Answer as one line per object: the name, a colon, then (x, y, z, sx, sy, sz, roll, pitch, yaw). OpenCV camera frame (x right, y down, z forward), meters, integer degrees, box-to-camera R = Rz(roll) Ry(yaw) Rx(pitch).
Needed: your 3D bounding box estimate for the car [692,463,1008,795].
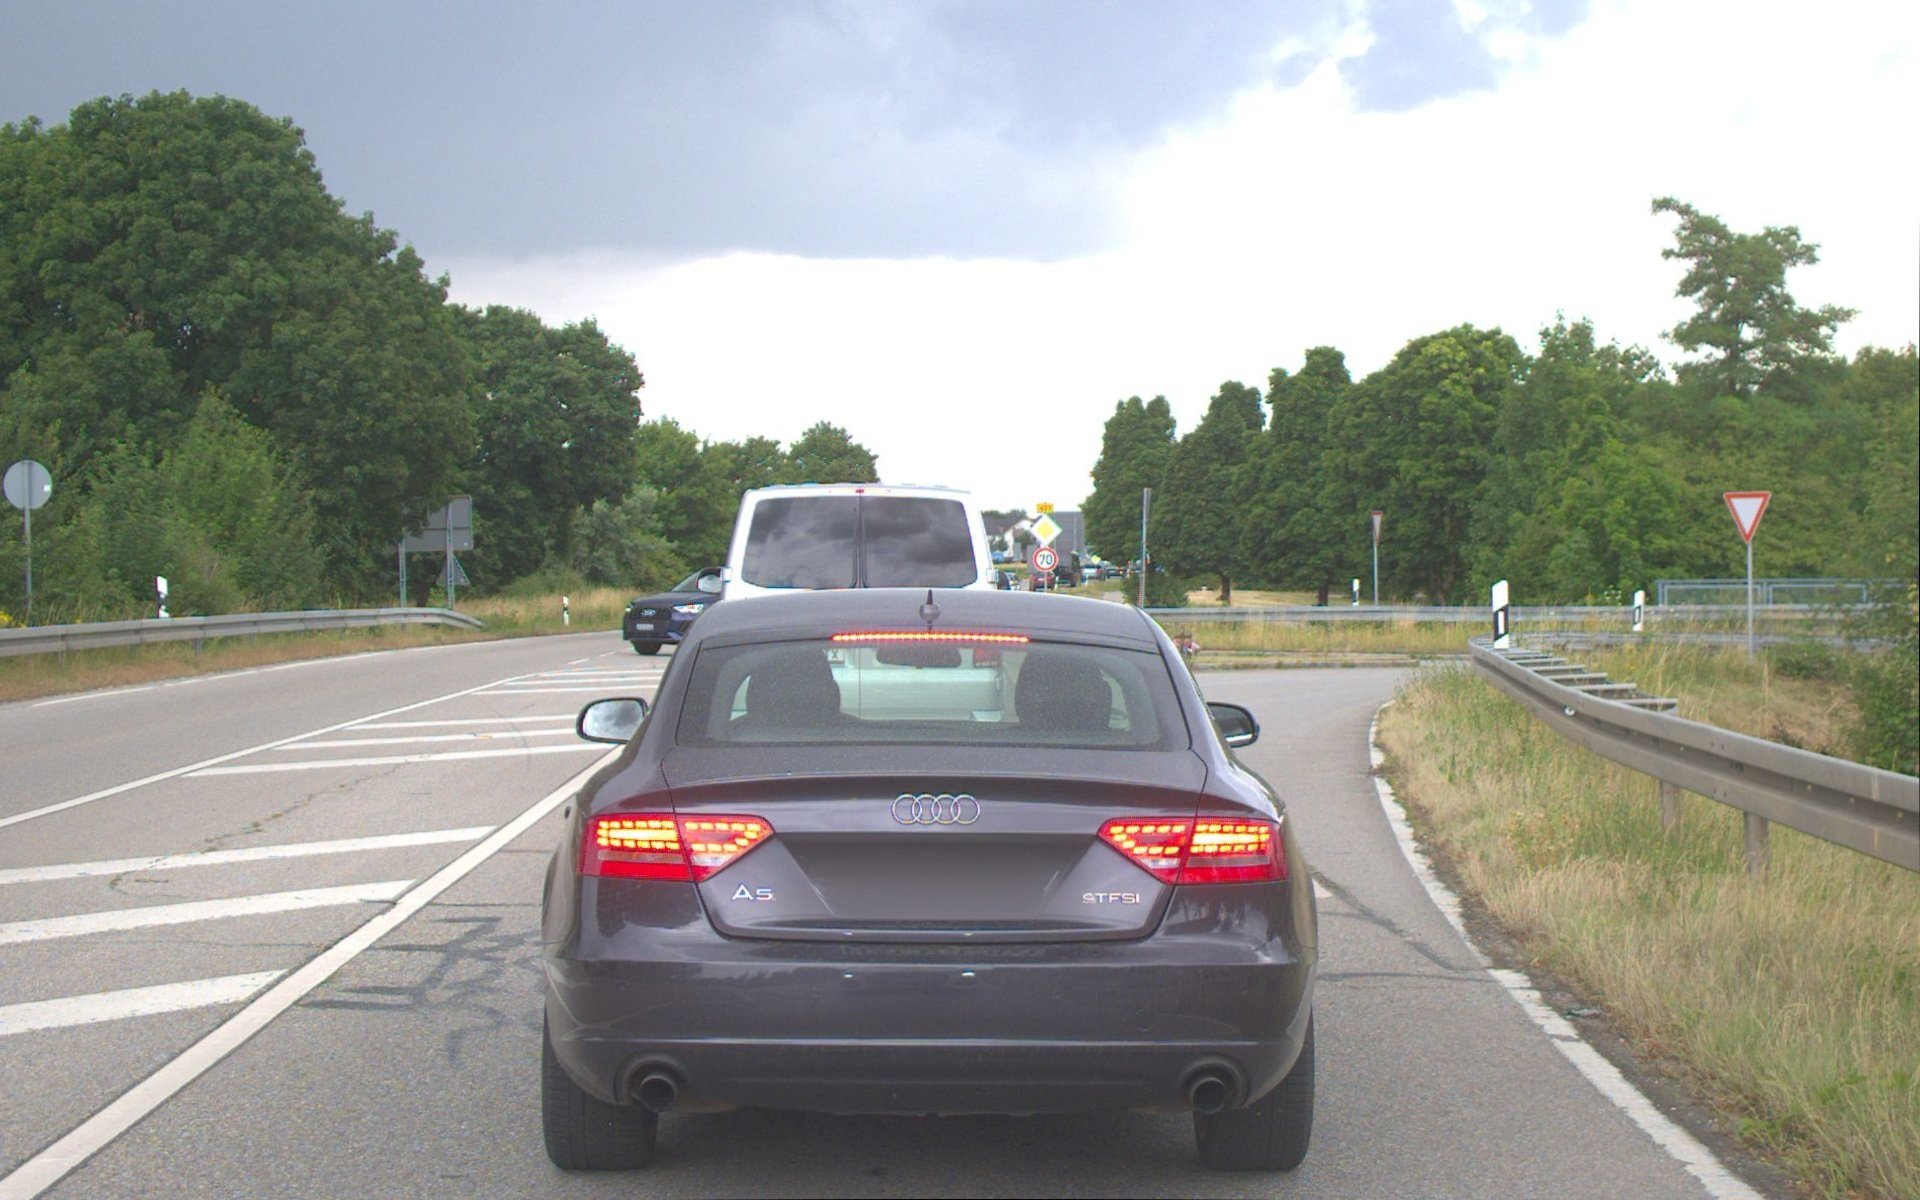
car: (-0.732, 0.136, 23.037, 1.910, 2.007, 4.000, 1, 1, -2)

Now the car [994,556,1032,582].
car: (3.326, -1.946, 217.898, 2.205, 1.577, 4.379, 1, 1, -2)

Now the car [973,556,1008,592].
car: (1.802, -1.515, 200.914, 1.993, 2.007, 4.000, 1, 1, 1)

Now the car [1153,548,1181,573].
car: (14.565, -2.764, 241.517, 1.876, 1.686, 4.000, 1, 1, 4)

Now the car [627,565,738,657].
car: (-4.905, 0.162, 61.132, 1.710, 1.513, 4.210, 1, 1, -1)

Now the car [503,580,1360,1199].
car: (-0.115, 0.663, 8.830, 1.779, 1.394, 3.337, 0, 1, -2)

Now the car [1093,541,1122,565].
car: (10.679, -3.428, 248.609, 1.993, 1.686, 4.000, 1, 1, 1)
